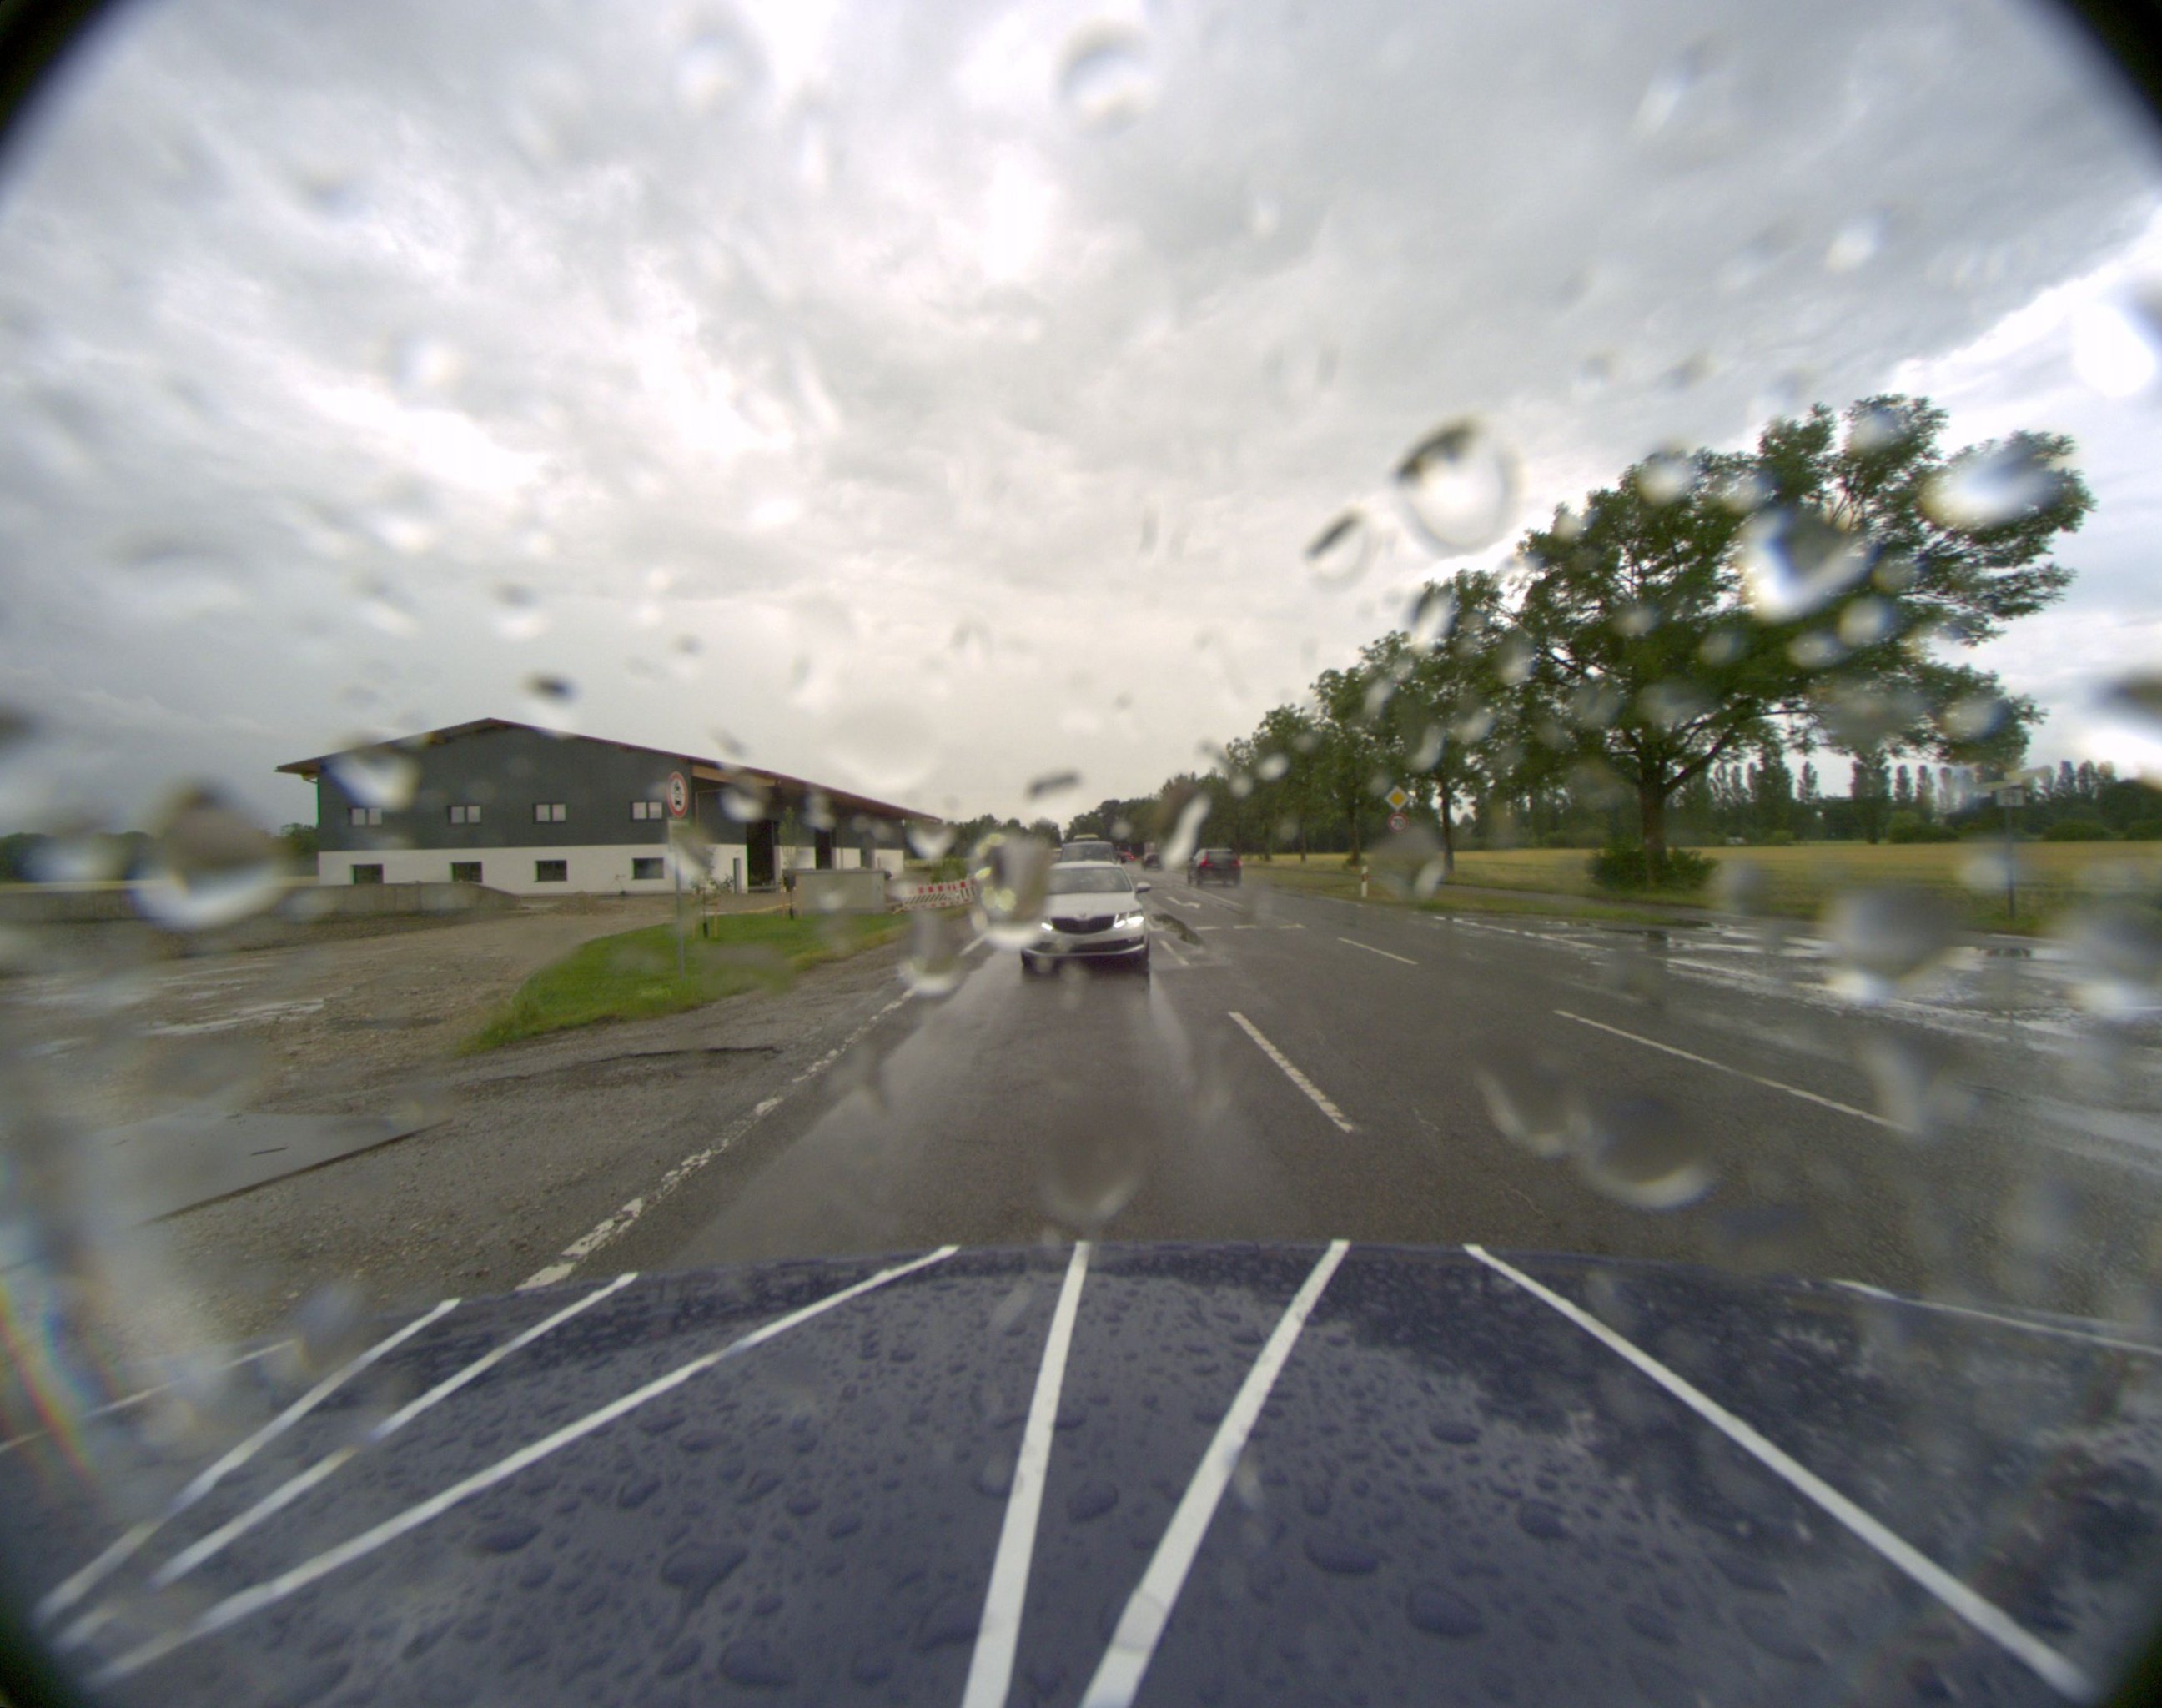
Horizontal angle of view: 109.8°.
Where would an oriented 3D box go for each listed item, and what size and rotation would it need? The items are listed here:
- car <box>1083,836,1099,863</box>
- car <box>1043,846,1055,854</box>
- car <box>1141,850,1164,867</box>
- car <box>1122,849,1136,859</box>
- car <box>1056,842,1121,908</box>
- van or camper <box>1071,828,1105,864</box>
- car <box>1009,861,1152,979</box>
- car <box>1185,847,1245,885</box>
[{"bbox_3d":[1.189,-0.548,92.940,1.771,3.134,4.027,-2,1,0],"label":"car"},{"bbox_3d":[-8.913,-1.175,209.346,2.002,2.002,3.992,-2,0,-24],"label":"car"},{"bbox_3d":[5.966,0.379,63.583,1.716,1.397,3.814,0,0,2],"label":"car"},{"bbox_3d":[6.843,-0.037,108.508,1.770,1.429,4.413,0,0,0],"label":"car"},{"bbox_3d":[0.261,0.597,24.369,1.841,1.888,4.575,-1,1,1],"label":"car"},{"bbox_3d":[0.796,-0.850,81.294,3.342,3.624,8.372,-1,1,1],"label":"van or camper"},{"bbox_3d":[0.026,0.857,11.863,1.770,1.365,4.575,-1,1,1],"label":"car"},{"bbox_3d":[5.965,0.496,34.416,1.949,1.571,4.443,0,0,0],"label":"car"}]
